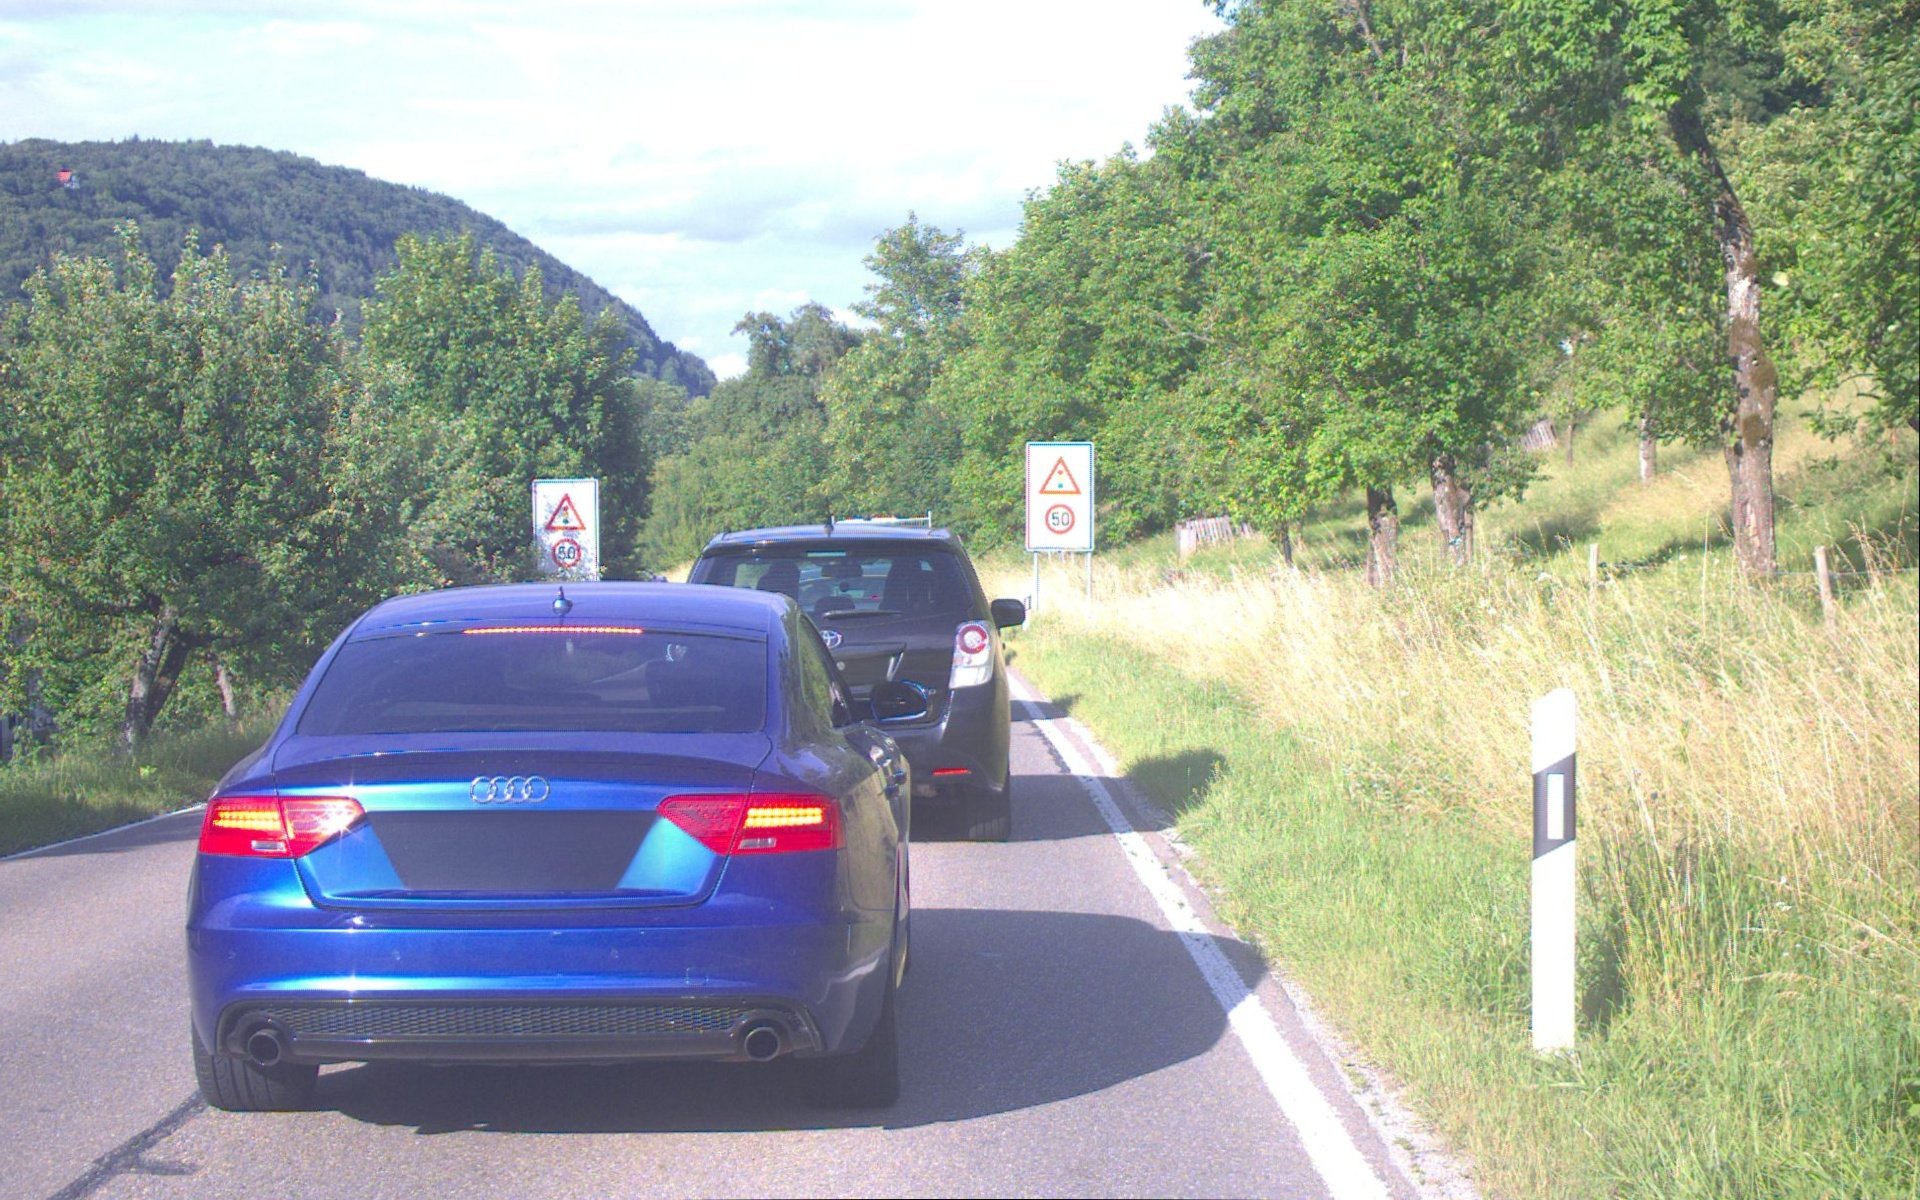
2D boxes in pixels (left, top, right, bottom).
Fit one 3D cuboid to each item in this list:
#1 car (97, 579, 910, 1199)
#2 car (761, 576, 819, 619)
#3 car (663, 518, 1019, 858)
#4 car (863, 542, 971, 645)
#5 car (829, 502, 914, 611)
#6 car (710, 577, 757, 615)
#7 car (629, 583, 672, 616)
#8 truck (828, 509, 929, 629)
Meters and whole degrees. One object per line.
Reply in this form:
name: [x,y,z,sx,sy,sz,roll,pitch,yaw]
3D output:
car: [-1.070,0.646,9.943,1.805,1.377,4.215,0,1,0]
car: [-6.227,-0.102,125.324,1.747,1.490,3.779,1,1,-8]
car: [-0.592,0.385,18.264,1.692,1.618,3.789,0,1,-1]
car: [-0.693,-0.131,55.779,1.692,1.618,3.789,0,1,-1]
car: [-2.100,-1.029,80.434,1.792,2.445,3.920,1,1,-3]
car: [-9.262,-0.171,140.255,1.558,1.490,3.779,1,1,-9]
car: [-15.030,-0.040,166.702,1.558,1.490,3.779,1,1,-13]
truck: [-1.672,-0.649,70.611,1.950,2.337,5.094,1,1,-1]
